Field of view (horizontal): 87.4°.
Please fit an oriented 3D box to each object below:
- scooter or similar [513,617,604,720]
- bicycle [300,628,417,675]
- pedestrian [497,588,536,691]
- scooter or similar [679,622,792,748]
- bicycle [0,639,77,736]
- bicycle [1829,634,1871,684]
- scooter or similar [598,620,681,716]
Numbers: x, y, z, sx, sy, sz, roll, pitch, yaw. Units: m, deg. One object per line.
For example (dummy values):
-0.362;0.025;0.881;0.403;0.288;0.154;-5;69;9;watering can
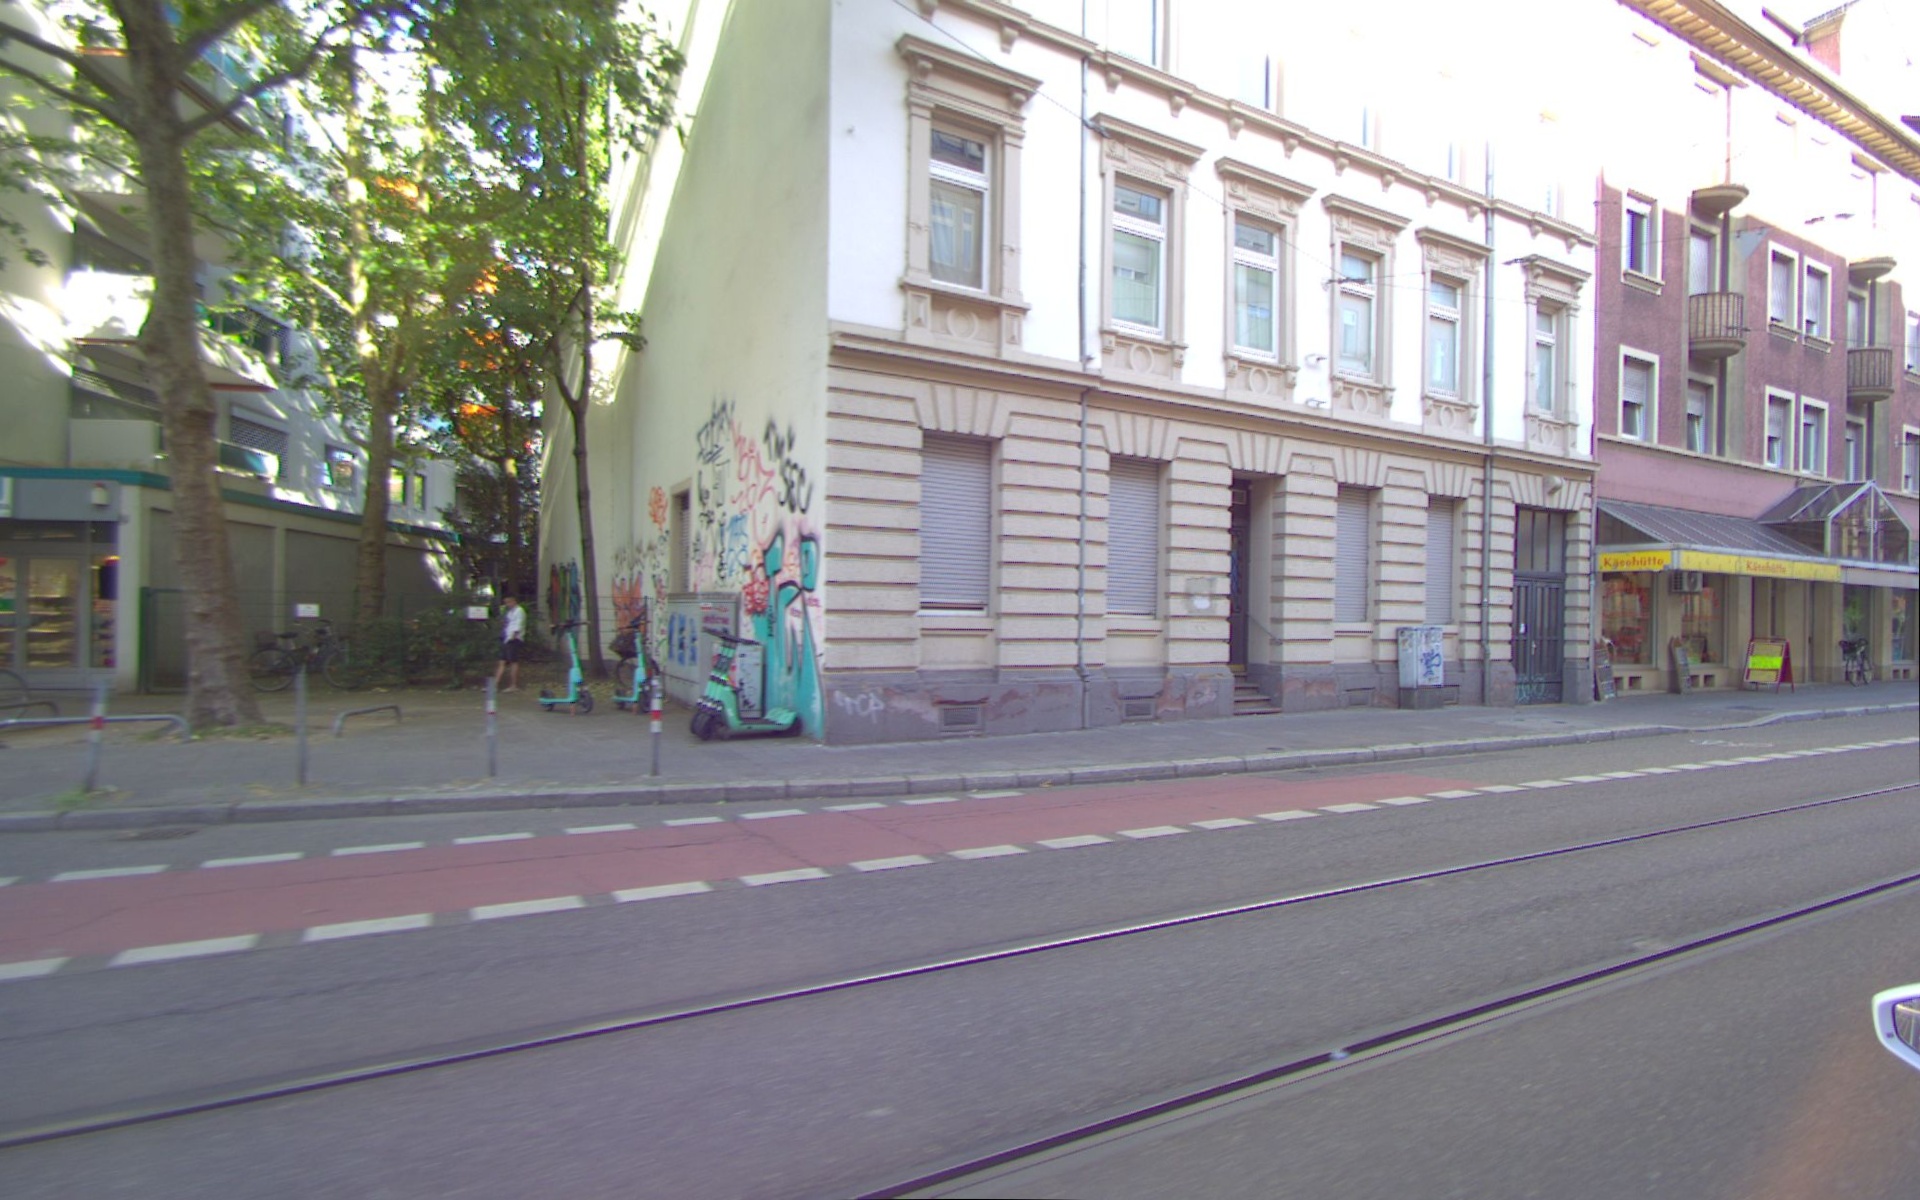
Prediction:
-5.330;0.869;13.304;0.762;1.274;1.217;0;0;-42;scooter or similar
-12.215;1.048;20.443;1.951;0.925;0.503;1;-1;-17;bicycle
-7.627;0.674;17.254;0.541;1.740;0.453;1;-1;-31;pedestrian
-2.552;0.931;11.404;1.062;1.289;0.784;-1;3;-31;scooter or similar
-10.953;0.981;11.159;0.652;1.048;1.921;1;-1;-3;bicycle
22.133;1.442;24.969;2.051;1.175;0.615;2;-1;-44;bicycle
-4.351;0.894;13.615;0.762;1.238;0.929;0;0;-42;scooter or similar
